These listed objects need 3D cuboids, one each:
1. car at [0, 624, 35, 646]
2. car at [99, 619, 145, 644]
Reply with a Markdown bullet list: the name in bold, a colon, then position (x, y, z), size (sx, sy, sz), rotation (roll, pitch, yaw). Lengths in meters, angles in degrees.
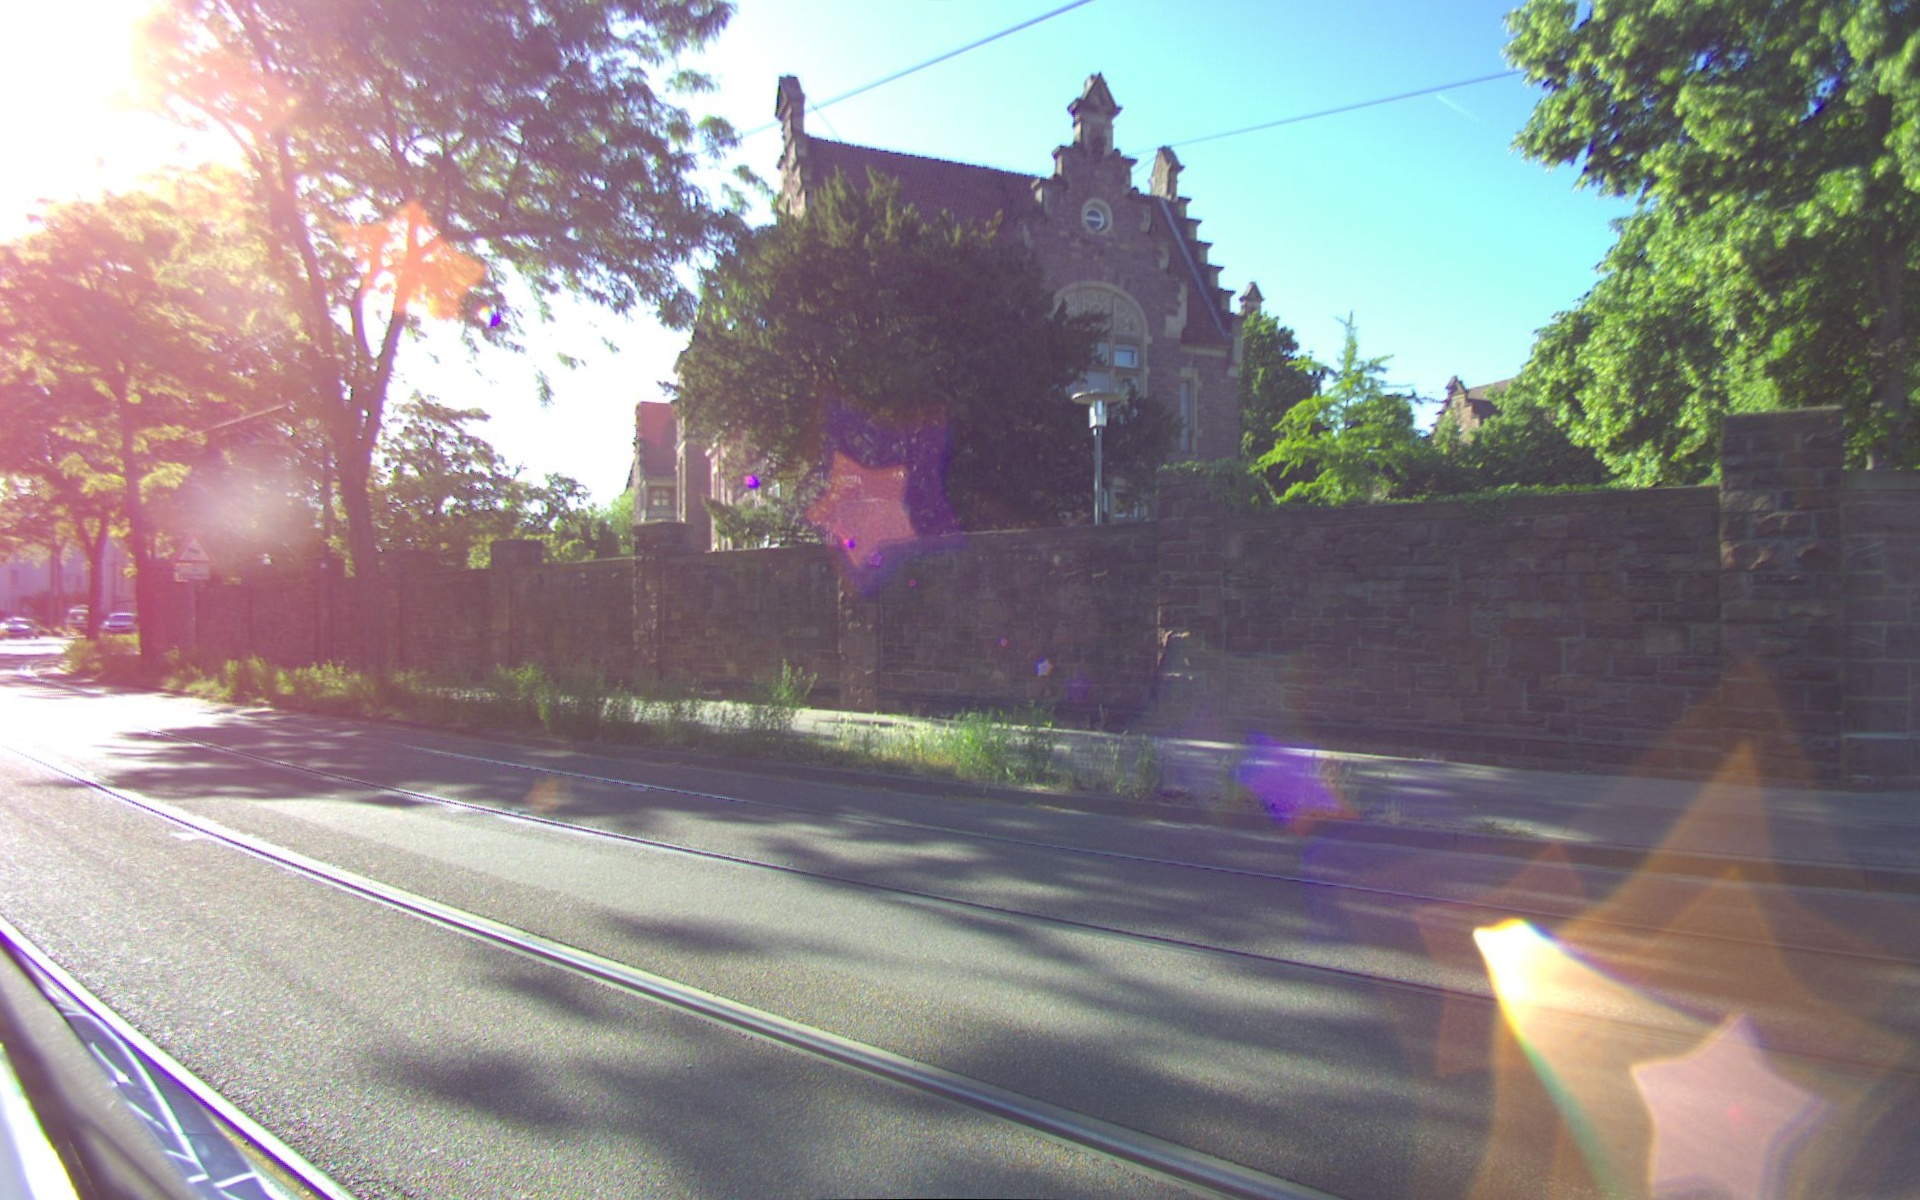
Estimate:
- **car**: position (-68.893, 2.522, 73.842), size (1.969, 1.560, 4.005), rotation (0, -1, -41)
- **car**: position (-64.789, 2.381, 78.315), size (1.846, 1.830, 4.982), rotation (0, -1, -29)
